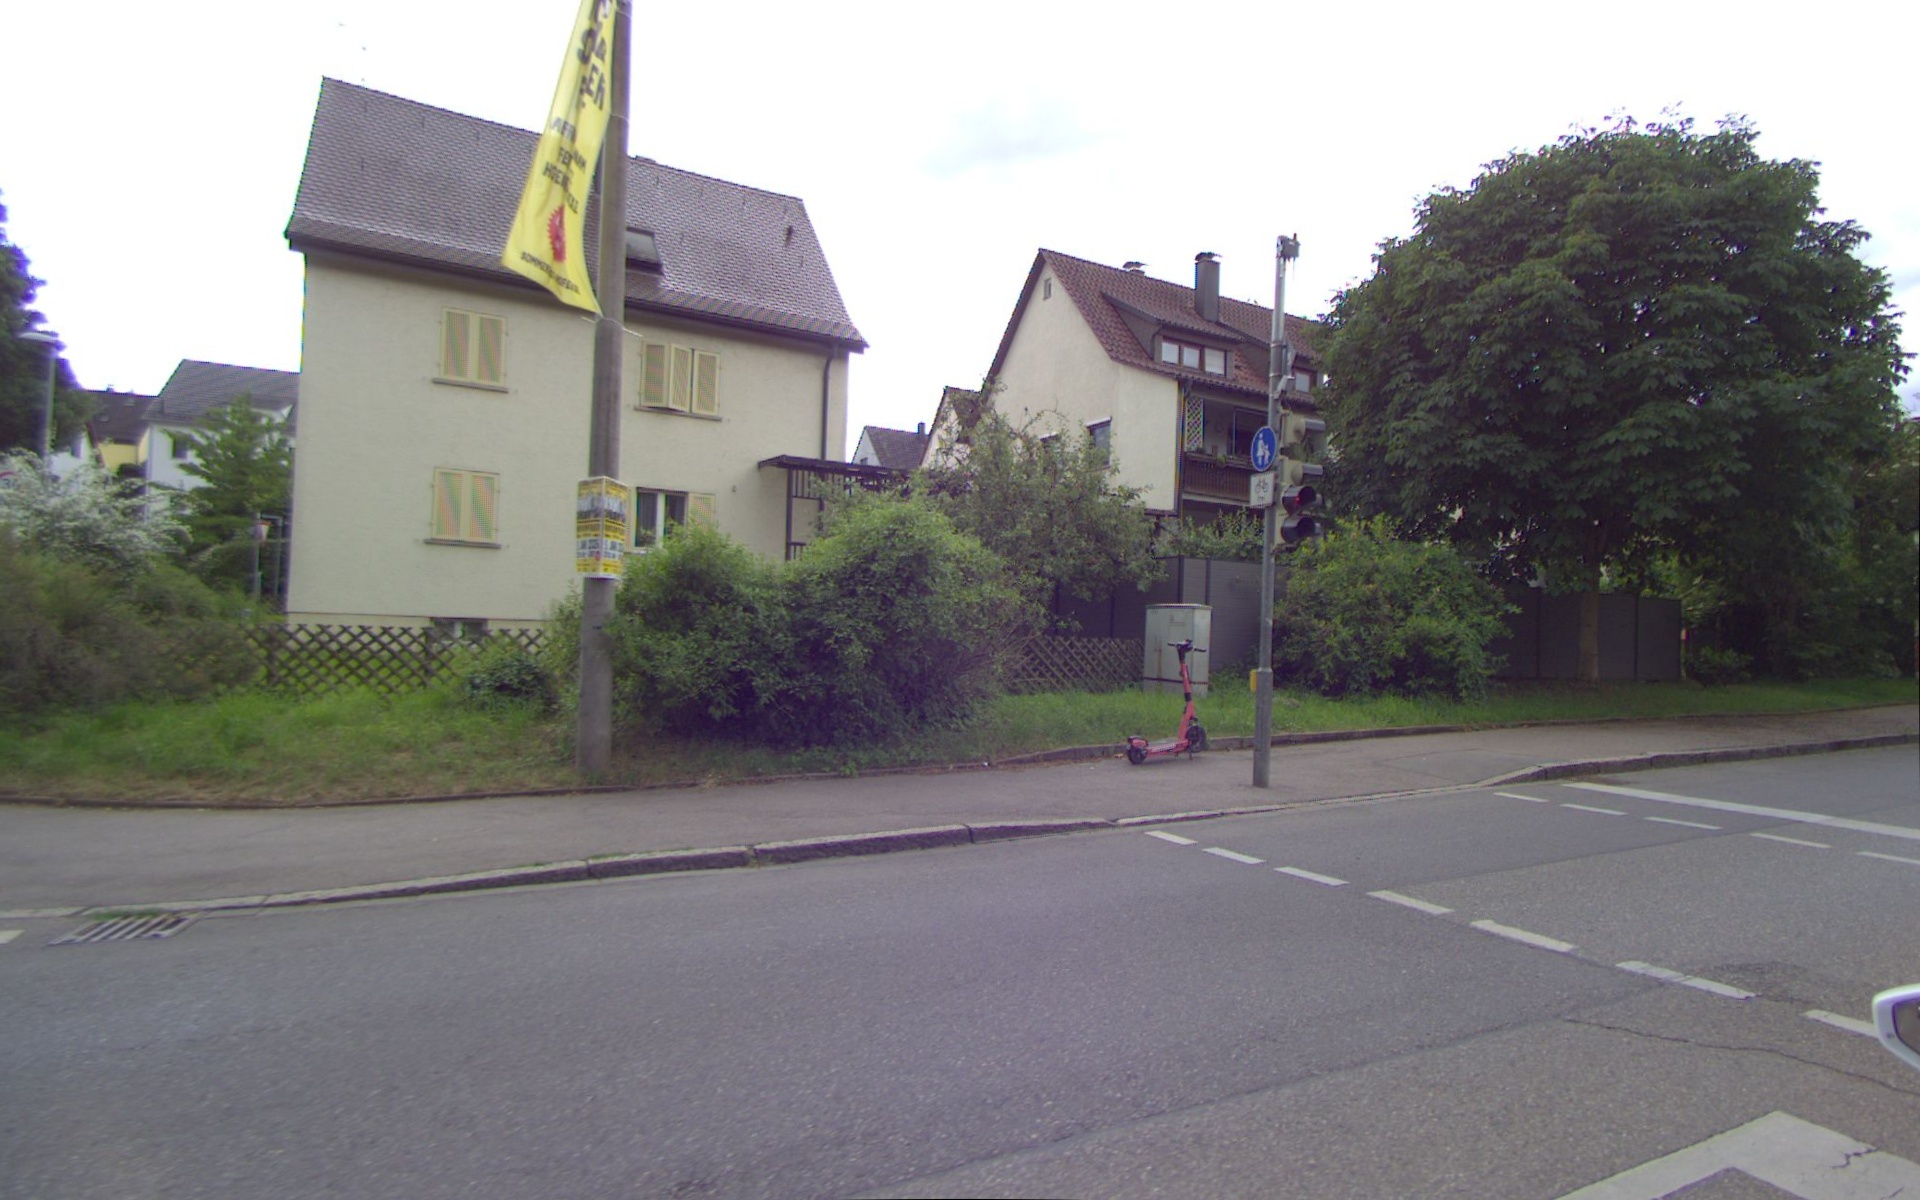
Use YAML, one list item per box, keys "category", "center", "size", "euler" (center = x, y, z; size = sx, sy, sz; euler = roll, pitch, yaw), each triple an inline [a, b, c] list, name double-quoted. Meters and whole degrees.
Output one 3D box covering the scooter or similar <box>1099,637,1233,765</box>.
- category: "scooter or similar"
  center: [2.209, 1.057, 10.728]
  size: [1.408, 1.275, 0.461]
  euler: [2, 0, -27]
